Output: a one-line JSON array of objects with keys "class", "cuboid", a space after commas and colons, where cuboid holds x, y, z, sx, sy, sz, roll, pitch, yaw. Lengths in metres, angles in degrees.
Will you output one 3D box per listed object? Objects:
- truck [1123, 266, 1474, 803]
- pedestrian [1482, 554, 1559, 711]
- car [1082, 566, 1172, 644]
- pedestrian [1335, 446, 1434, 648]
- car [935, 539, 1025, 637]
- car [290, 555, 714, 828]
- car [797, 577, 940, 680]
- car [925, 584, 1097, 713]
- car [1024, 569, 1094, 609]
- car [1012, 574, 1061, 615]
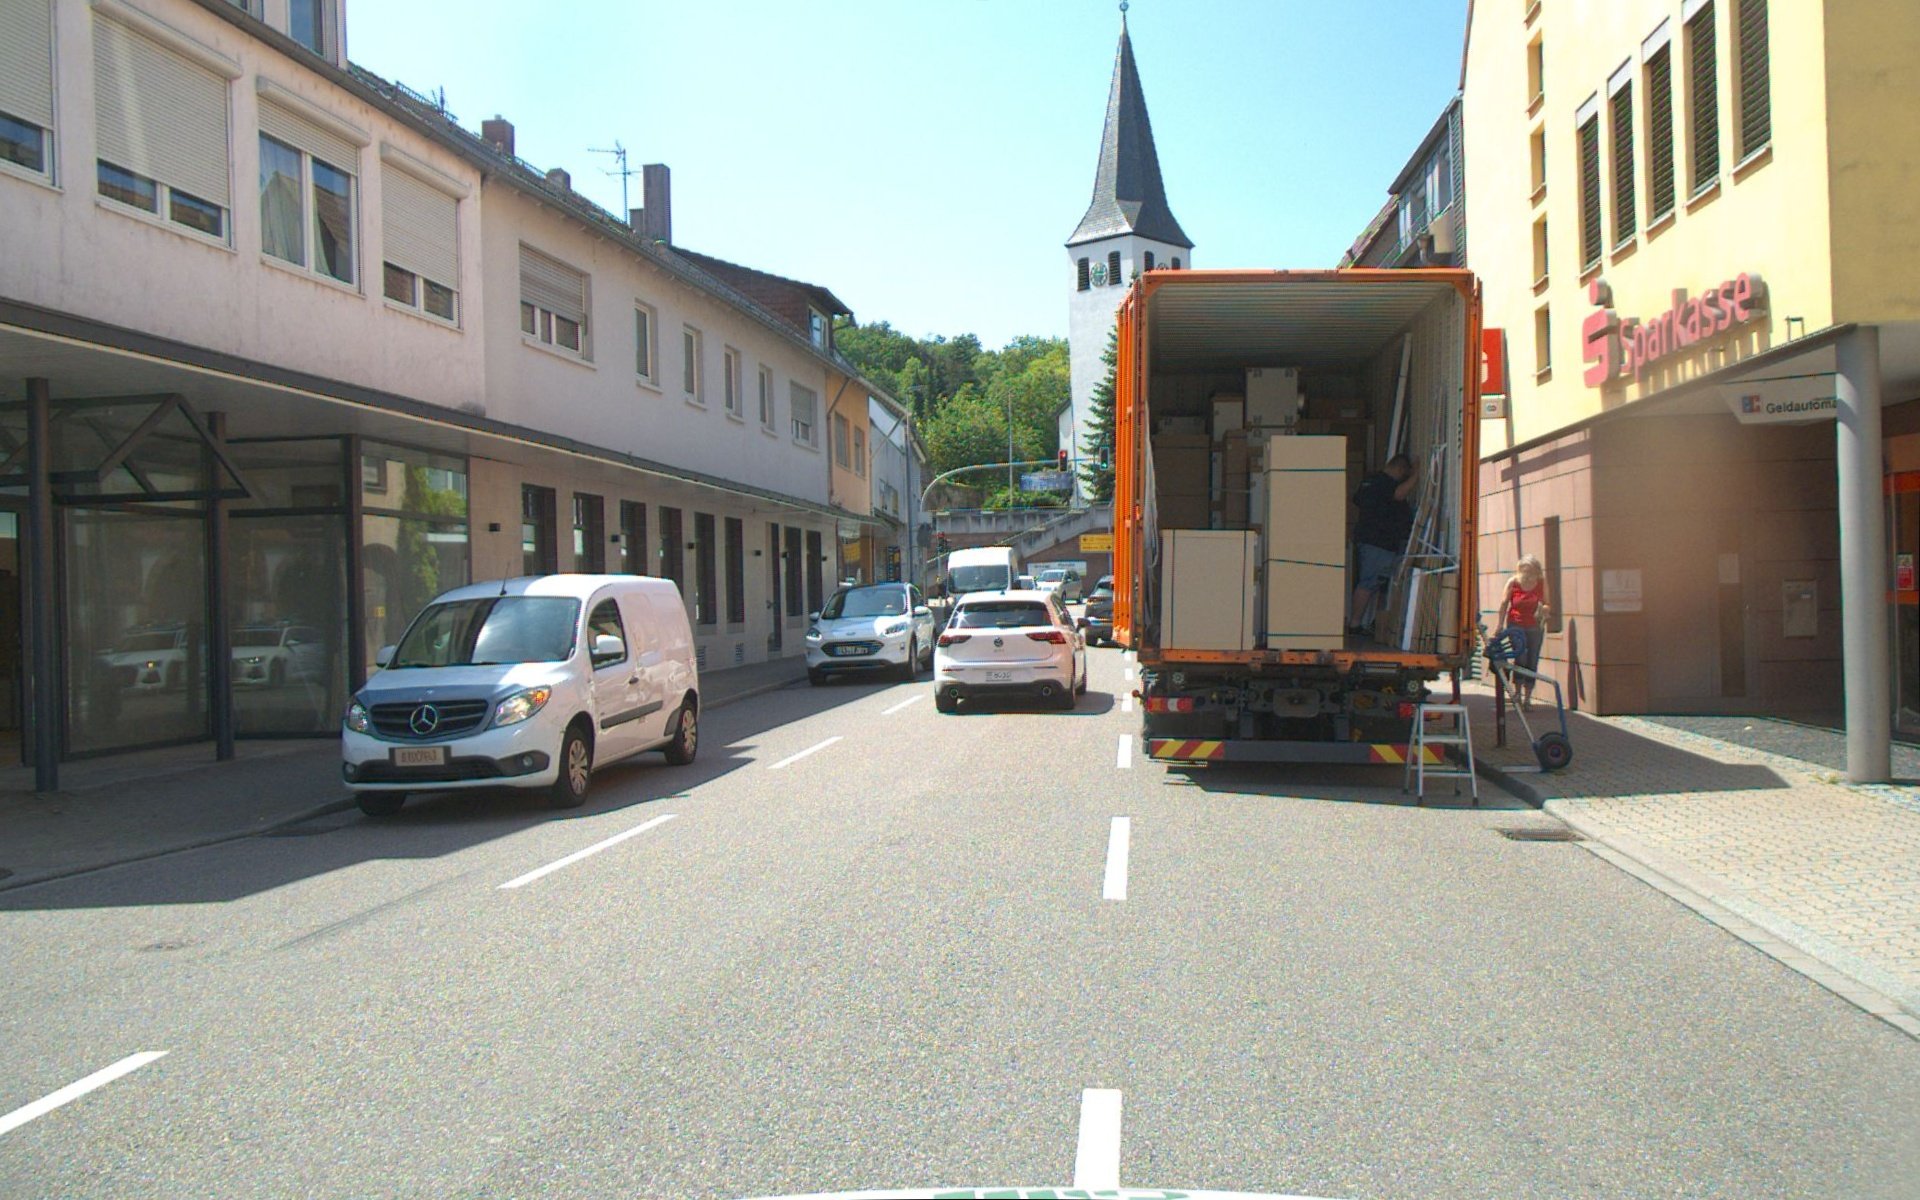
[{"class": "truck", "cuboid": [3.212, -0.641, 17.508, 2.553, 4.014, 10.002, 1, 2, 8]}, {"class": "pedestrian", "cuboid": [6.141, 0.348, 18.140, 0.674, 1.682, 0.651, 1, -1, 8]}, {"class": "car", "cuboid": [3.893, 0.062, 39.086, 1.908, 1.609, 4.329, -1, 2, 3]}, {"class": "pedestrian", "cuboid": [3.878, -0.469, 15.178, 0.734, 1.787, 0.928, 1, -1, 6]}, {"class": "car", "cuboid": [0.668, -0.373, 48.610, 2.095, 2.613, 5.397, -3, 0, 5]}, {"class": "car", "cuboid": [-3.602, 0.662, 14.012, 1.745, 1.862, 4.604, -3, 0, 7]}, {"class": "car", "cuboid": [-1.527, 0.474, 29.065, 1.780, 1.582, 4.201, -3, -1, 6]}, {"class": "car", "cuboid": [0.757, 0.561, 21.433, 1.744, 1.483, 3.866, -1, 0, 9]}, {"class": "car", "cuboid": [4.634, -0.528, 76.803, 1.648, 1.645, 3.815, -3, 1, 30]}, {"class": "car", "cuboid": [3.032, -0.229, 65.185, 1.563, 1.480, 3.450, -3, 0, 7]}]
